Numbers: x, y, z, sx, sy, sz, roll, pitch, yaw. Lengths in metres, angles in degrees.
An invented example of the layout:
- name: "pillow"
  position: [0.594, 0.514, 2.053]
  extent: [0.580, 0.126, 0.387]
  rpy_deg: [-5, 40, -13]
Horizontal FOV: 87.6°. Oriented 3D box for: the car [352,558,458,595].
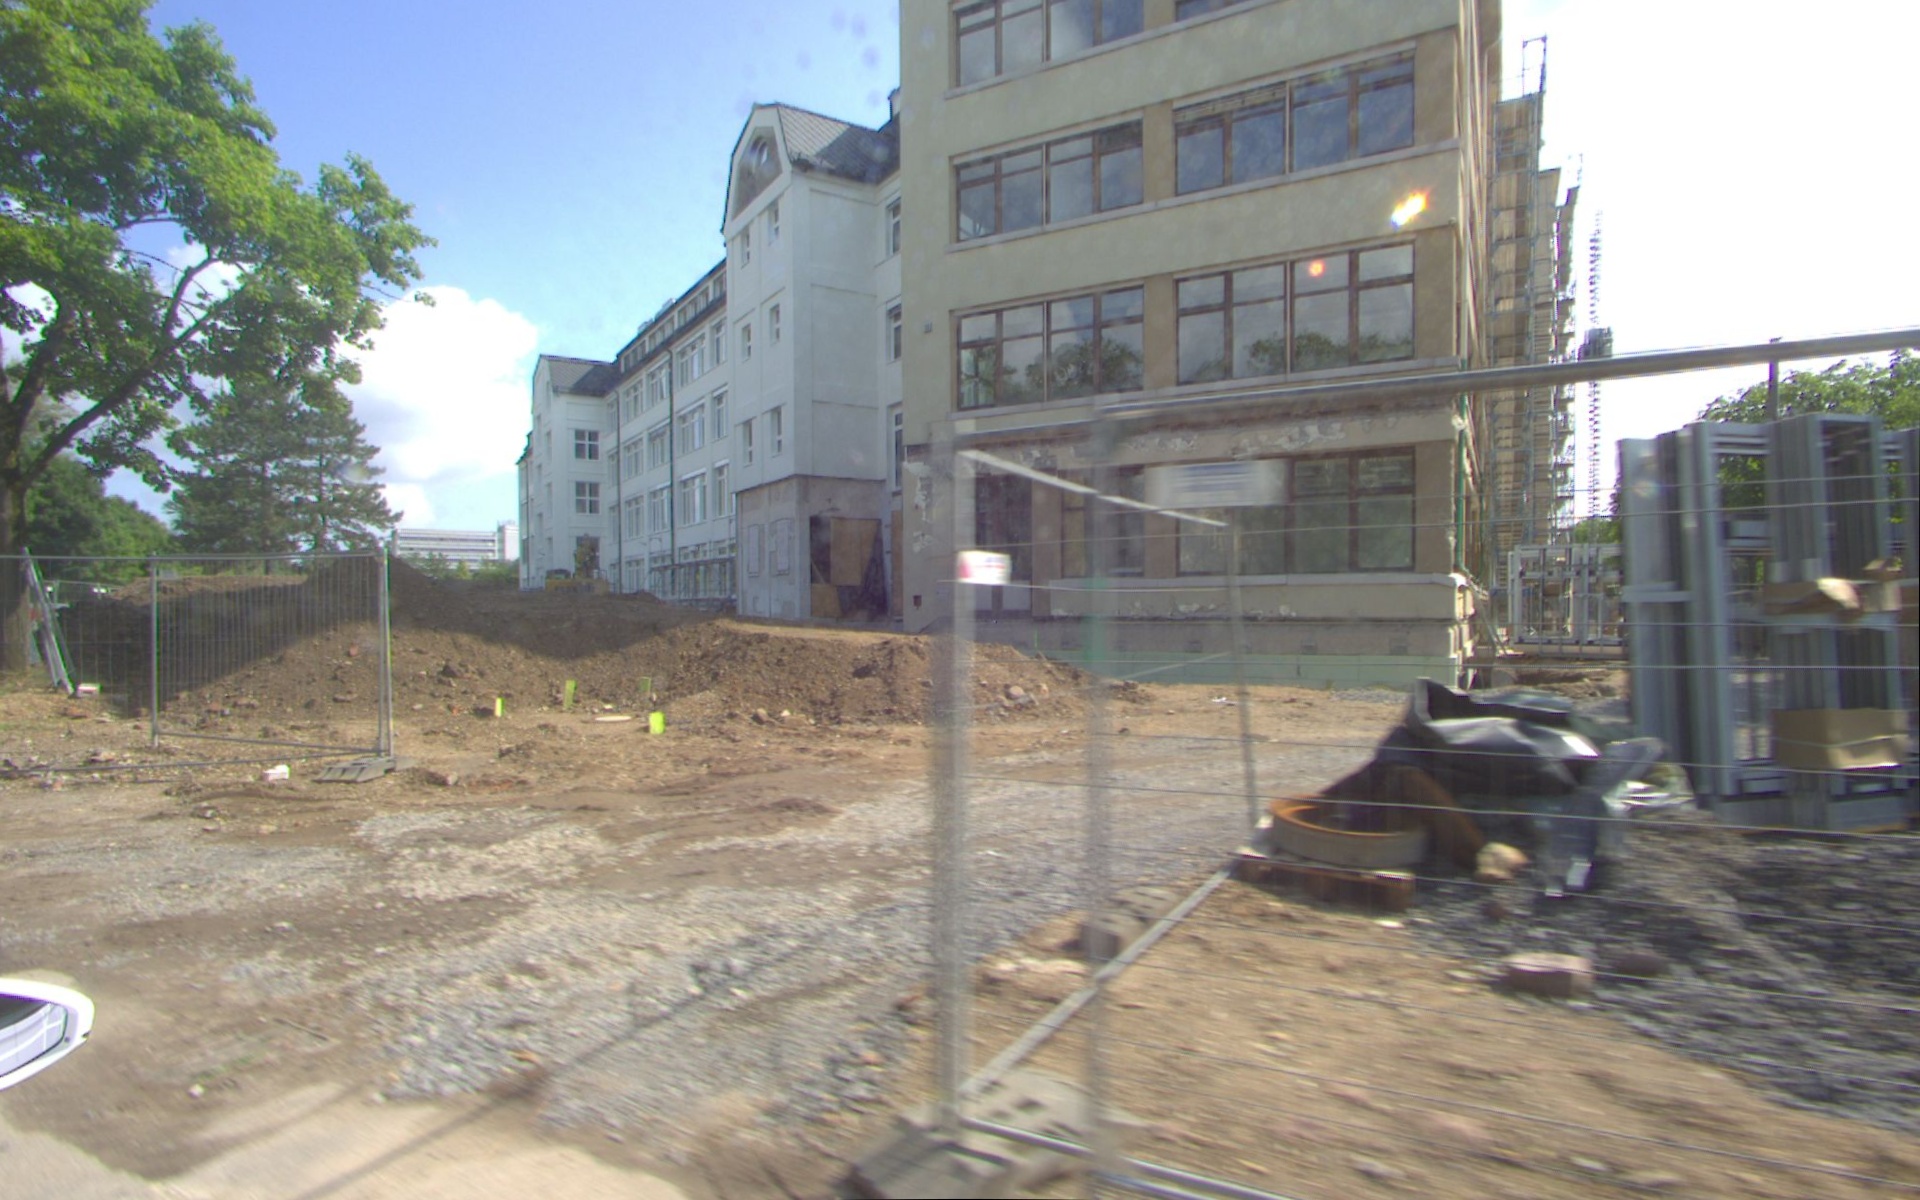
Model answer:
- name: "car"
  position: [-29.216, -1.201, 52.755]
  extent: [4.804, 1.444, 1.836]
  rpy_deg: [4, -7, -32]
